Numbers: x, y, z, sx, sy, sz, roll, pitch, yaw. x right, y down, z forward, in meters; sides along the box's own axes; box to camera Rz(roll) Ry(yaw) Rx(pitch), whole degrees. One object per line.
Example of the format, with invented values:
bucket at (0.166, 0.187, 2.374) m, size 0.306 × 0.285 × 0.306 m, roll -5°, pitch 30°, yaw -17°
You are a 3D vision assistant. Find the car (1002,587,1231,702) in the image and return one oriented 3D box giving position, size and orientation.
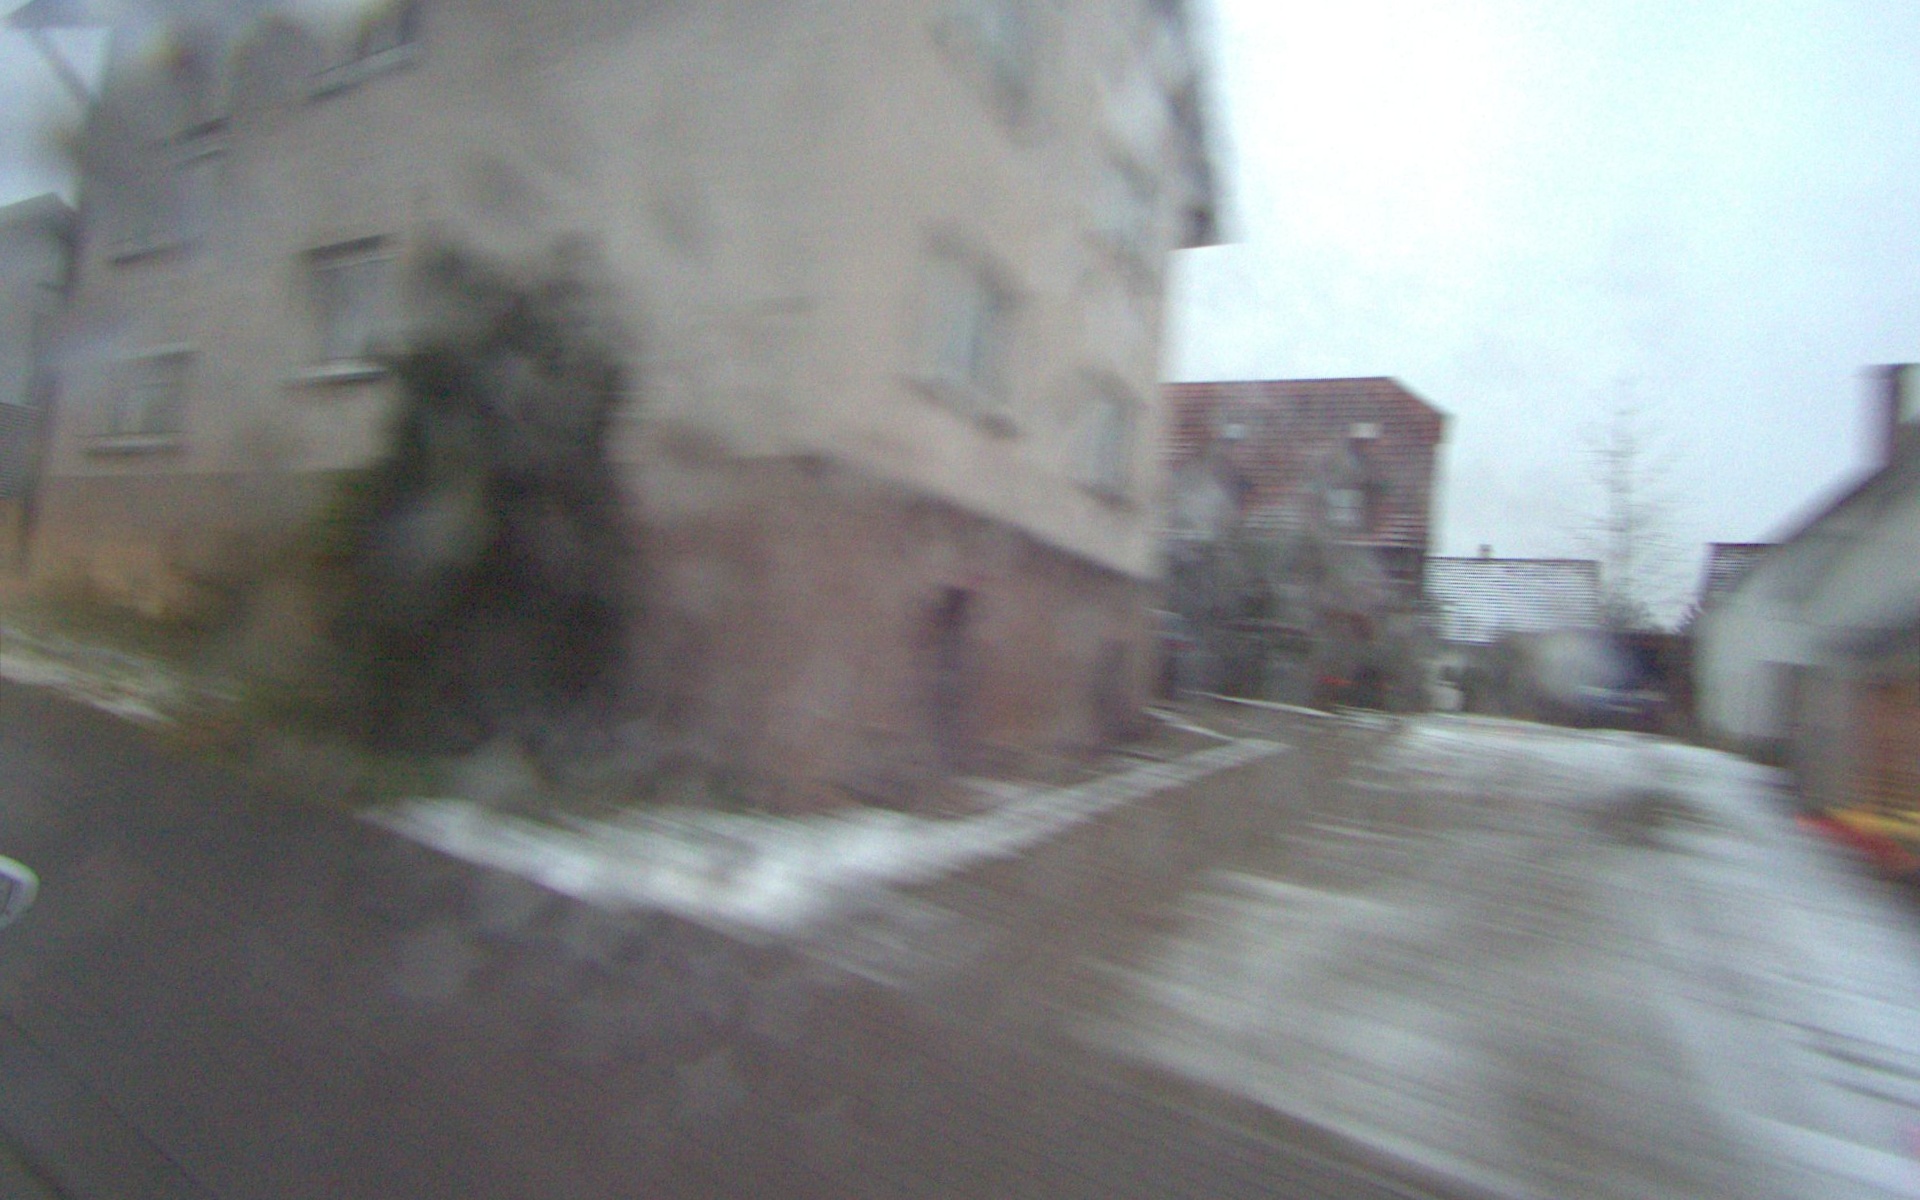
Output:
car at (3.126, 0.885, 20.130) m, size 3.932 × 1.791 × 2.000 m, roll 5°, pitch -4°, yaw 29°

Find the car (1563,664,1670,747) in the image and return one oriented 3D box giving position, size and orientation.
car at (16.137, 2.671, 24.905) m, size 1.678 × 1.649 × 4.004 m, roll 5°, pitch -6°, yaw 27°
